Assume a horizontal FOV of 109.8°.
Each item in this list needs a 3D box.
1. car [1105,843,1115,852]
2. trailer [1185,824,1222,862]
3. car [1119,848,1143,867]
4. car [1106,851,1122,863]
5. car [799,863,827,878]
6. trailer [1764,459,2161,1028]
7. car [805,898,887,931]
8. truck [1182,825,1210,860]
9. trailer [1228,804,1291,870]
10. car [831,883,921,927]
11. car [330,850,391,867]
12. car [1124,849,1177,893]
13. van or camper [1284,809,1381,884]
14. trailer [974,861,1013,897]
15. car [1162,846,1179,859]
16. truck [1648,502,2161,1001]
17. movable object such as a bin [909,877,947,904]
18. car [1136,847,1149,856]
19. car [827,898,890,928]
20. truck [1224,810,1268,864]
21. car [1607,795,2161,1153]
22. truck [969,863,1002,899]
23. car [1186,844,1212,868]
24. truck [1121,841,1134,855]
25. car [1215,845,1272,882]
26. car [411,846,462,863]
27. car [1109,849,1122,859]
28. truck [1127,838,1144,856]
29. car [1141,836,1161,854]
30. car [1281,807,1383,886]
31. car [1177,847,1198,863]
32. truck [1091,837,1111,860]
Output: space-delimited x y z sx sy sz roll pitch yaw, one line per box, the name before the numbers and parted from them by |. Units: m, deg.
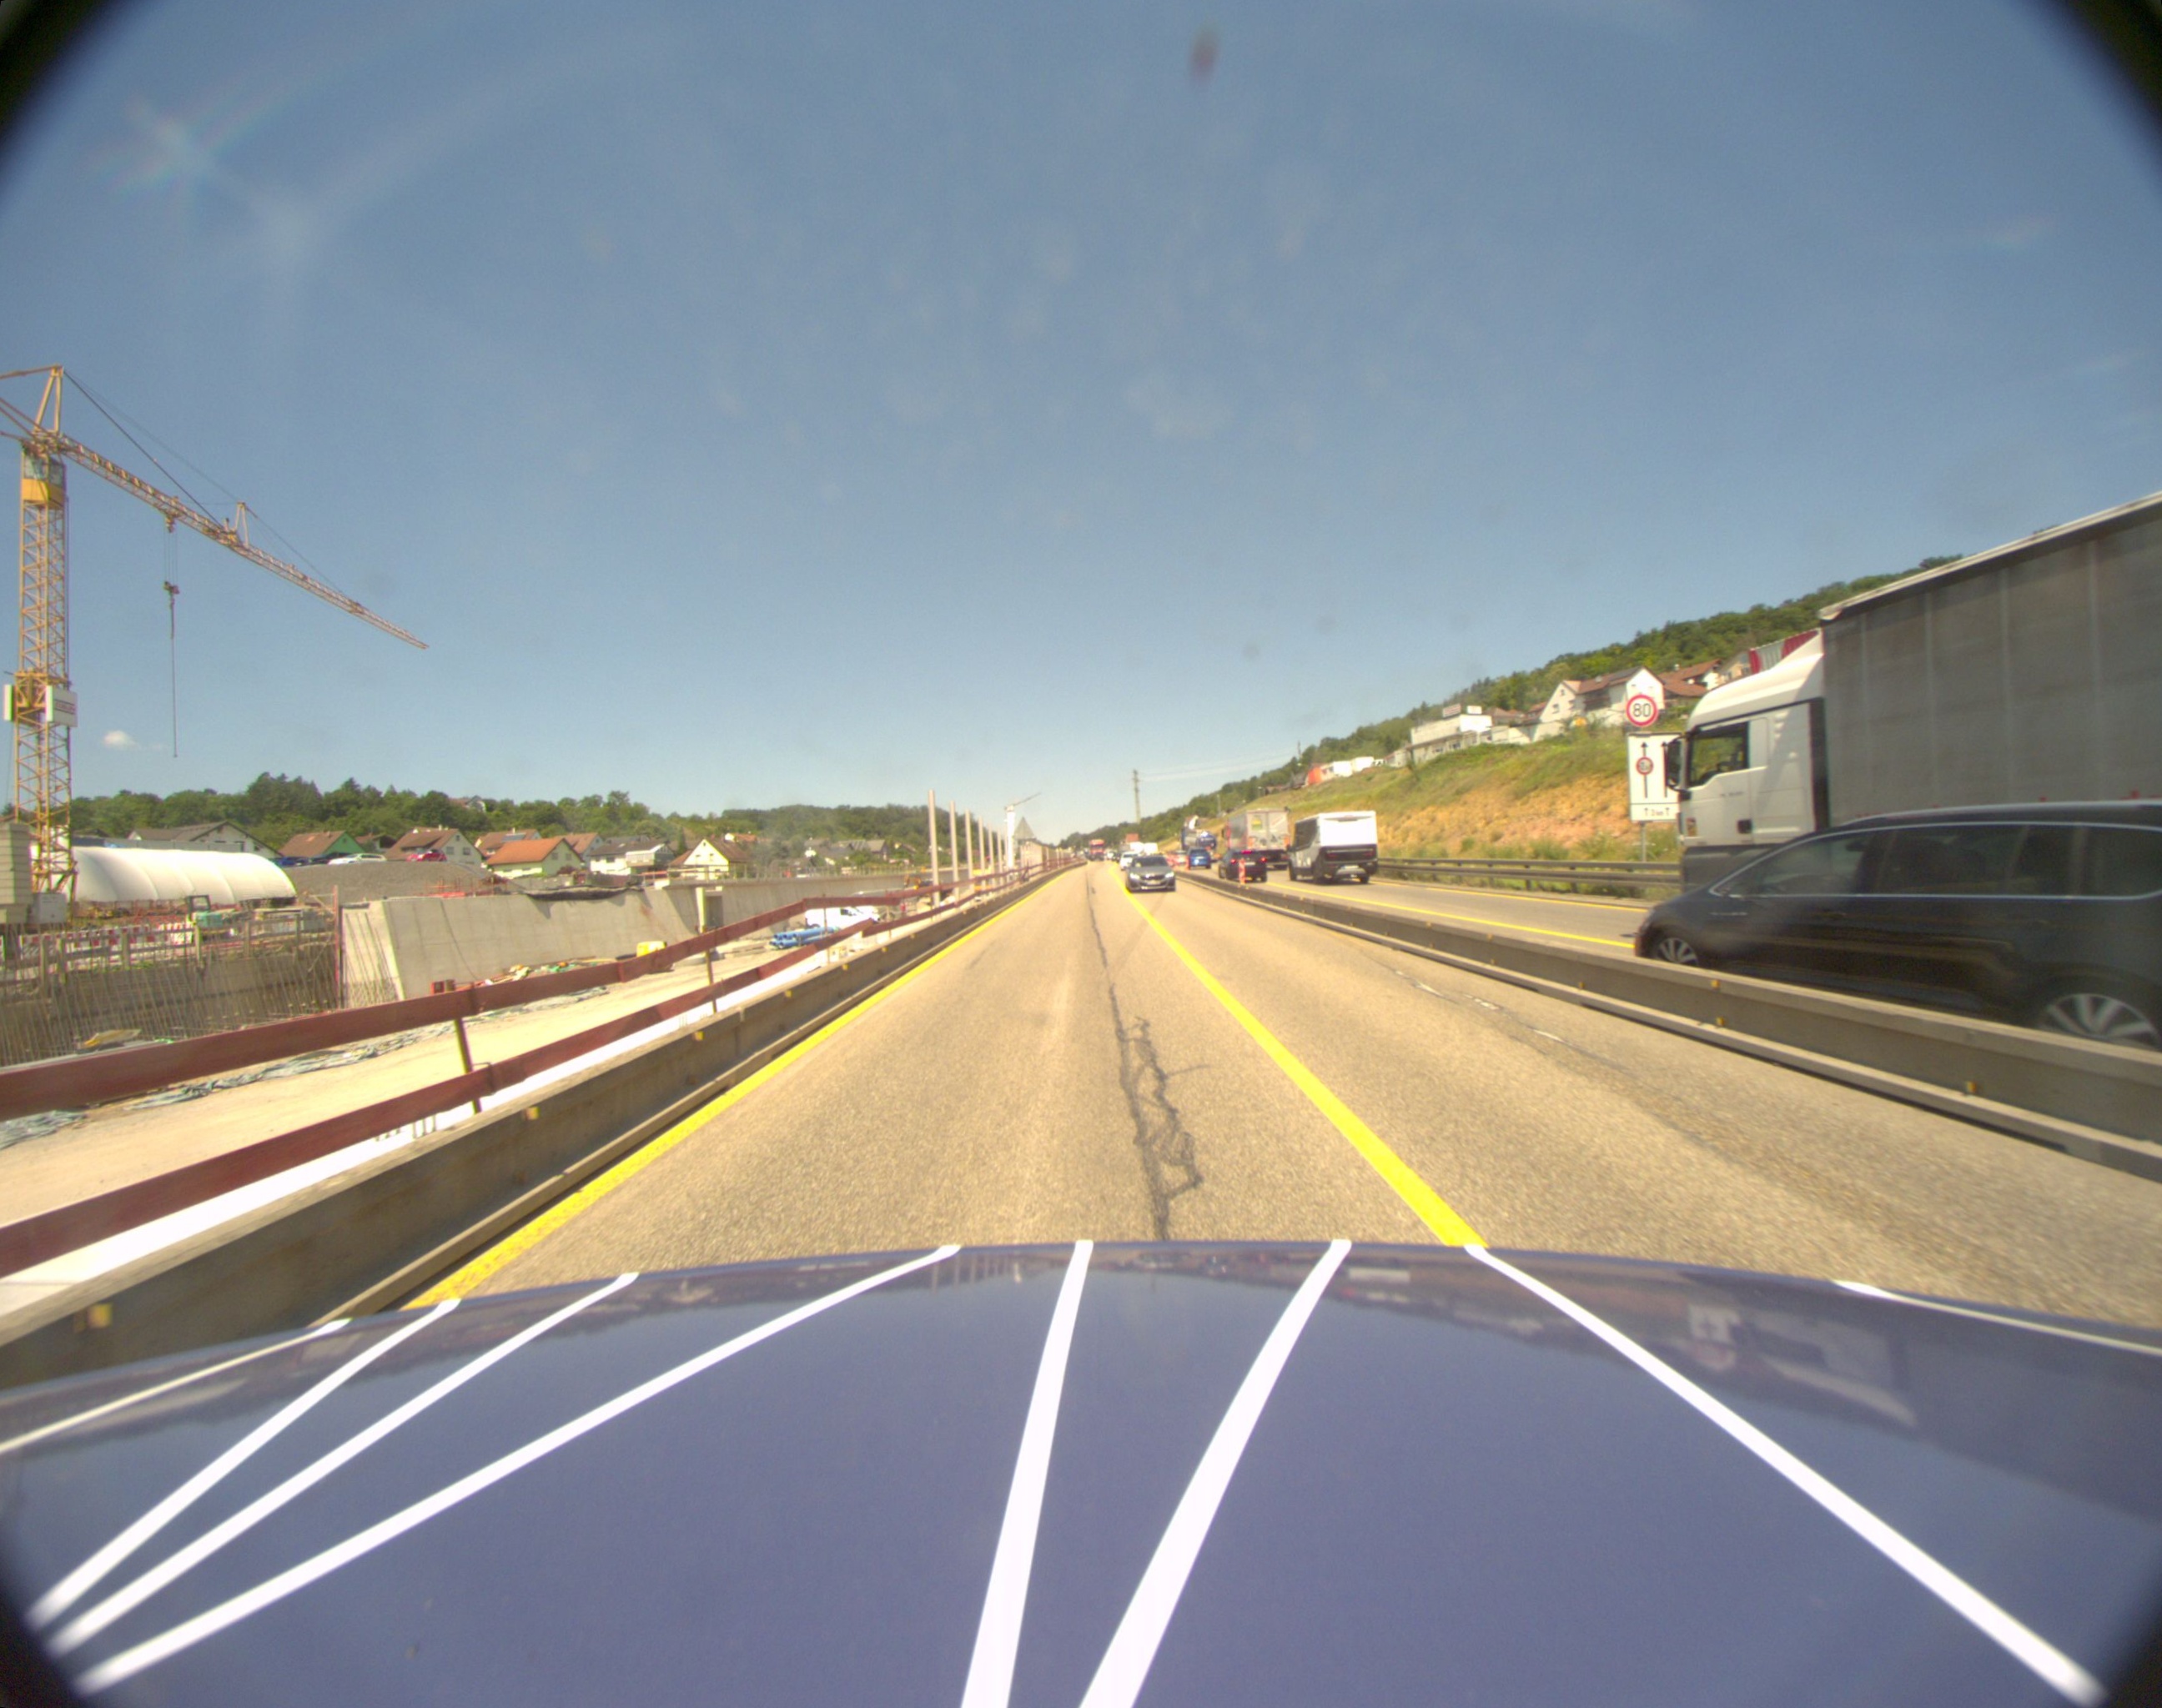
car | 9.927 -2.347 262.004 2.926 2.863 6.696 -3 0 0
trailer | 13.467 -1.205 84.436 2.606 3.848 11.273 -3 1 2
car | 4.165 0.268 63.535 1.838 1.465 4.390 -3 0 2
car | 4.449 0.444 102.226 1.801 1.542 4.000 -3 -1 -1
car | -32.090 1.992 91.100 1.658 1.594 4.605 -3 1 0
trailer | 9.328 -0.834 4.625 2.820 4.150 8.241 -3 1 0
car | -15.598 4.007 50.663 4.801 1.758 1.720 -4 0 1
truck | 13.686 -1.399 90.709 2.589 3.954 4.588 -3 1 2
trailer | 11.675 -1.129 50.727 2.661 3.794 11.824 -2 1 7
car | -15.430 3.797 57.567 6.308 2.566 2.053 -6 0 -12
car | -68.898 0.405 72.748 1.729 1.477 4.214 -3 1 1
car | 2.709 0.619 30.483 1.838 1.588 4.390 -3 0 2
van or camper | 10.117 -0.300 31.239 2.128 2.689 6.456 -2 0 3
trailer | -9.857 2.737 86.997 2.446 3.333 12.893 -3 1 1
car | 11.190 -0.159 95.112 1.837 1.510 4.844 -2 0 5
truck | 9.268 -0.914 8.424 2.805 4.126 4.072 -3 1 -1
movable object such as a bin | -18.292 4.344 91.248 3.266 2.769 4.001 -2 1 7
car | 10.609 -0.399 131.635 1.838 1.368 4.389 -3 0 0
car | -15.761 4.195 53.915 3.870 1.676 1.692 -4 1 -4
truck | 12.380 -1.257 57.434 2.590 3.807 5.382 -2 1 6
car | 6.187 0.534 5.284 1.860 1.746 4.608 -3 1 1
truck | -10.053 2.810 80.192 2.504 3.385 5.435 -3 1 1
car | 9.026 0.103 58.420 1.837 1.654 4.686 -2 1 8
truck | 14.000 -1.870 229.121 3.148 4.024 10.209 -3 1 1
car | 7.281 0.412 34.426 1.758 1.508 4.187 -3 0 2
car | -60.023 0.039 70.799 1.545 1.477 3.606 -3 1 1
car | 5.683 0.001 126.301 1.801 1.542 4.000 -3 -1 -1
truck | 12.735 -1.665 177.395 3.115 4.024 13.155 -3 1 1
car | 10.554 -1.336 114.863 2.211 2.614 6.627 -3 0 0
car | 10.109 -0.348 31.236 2.280 2.805 6.559 -2 1 3
car | 10.618 0.065 75.665 1.837 1.421 4.536 -2 0 6
truck | 3.811 -1.163 144.343 3.463 4.024 10.209 -3 1 1
